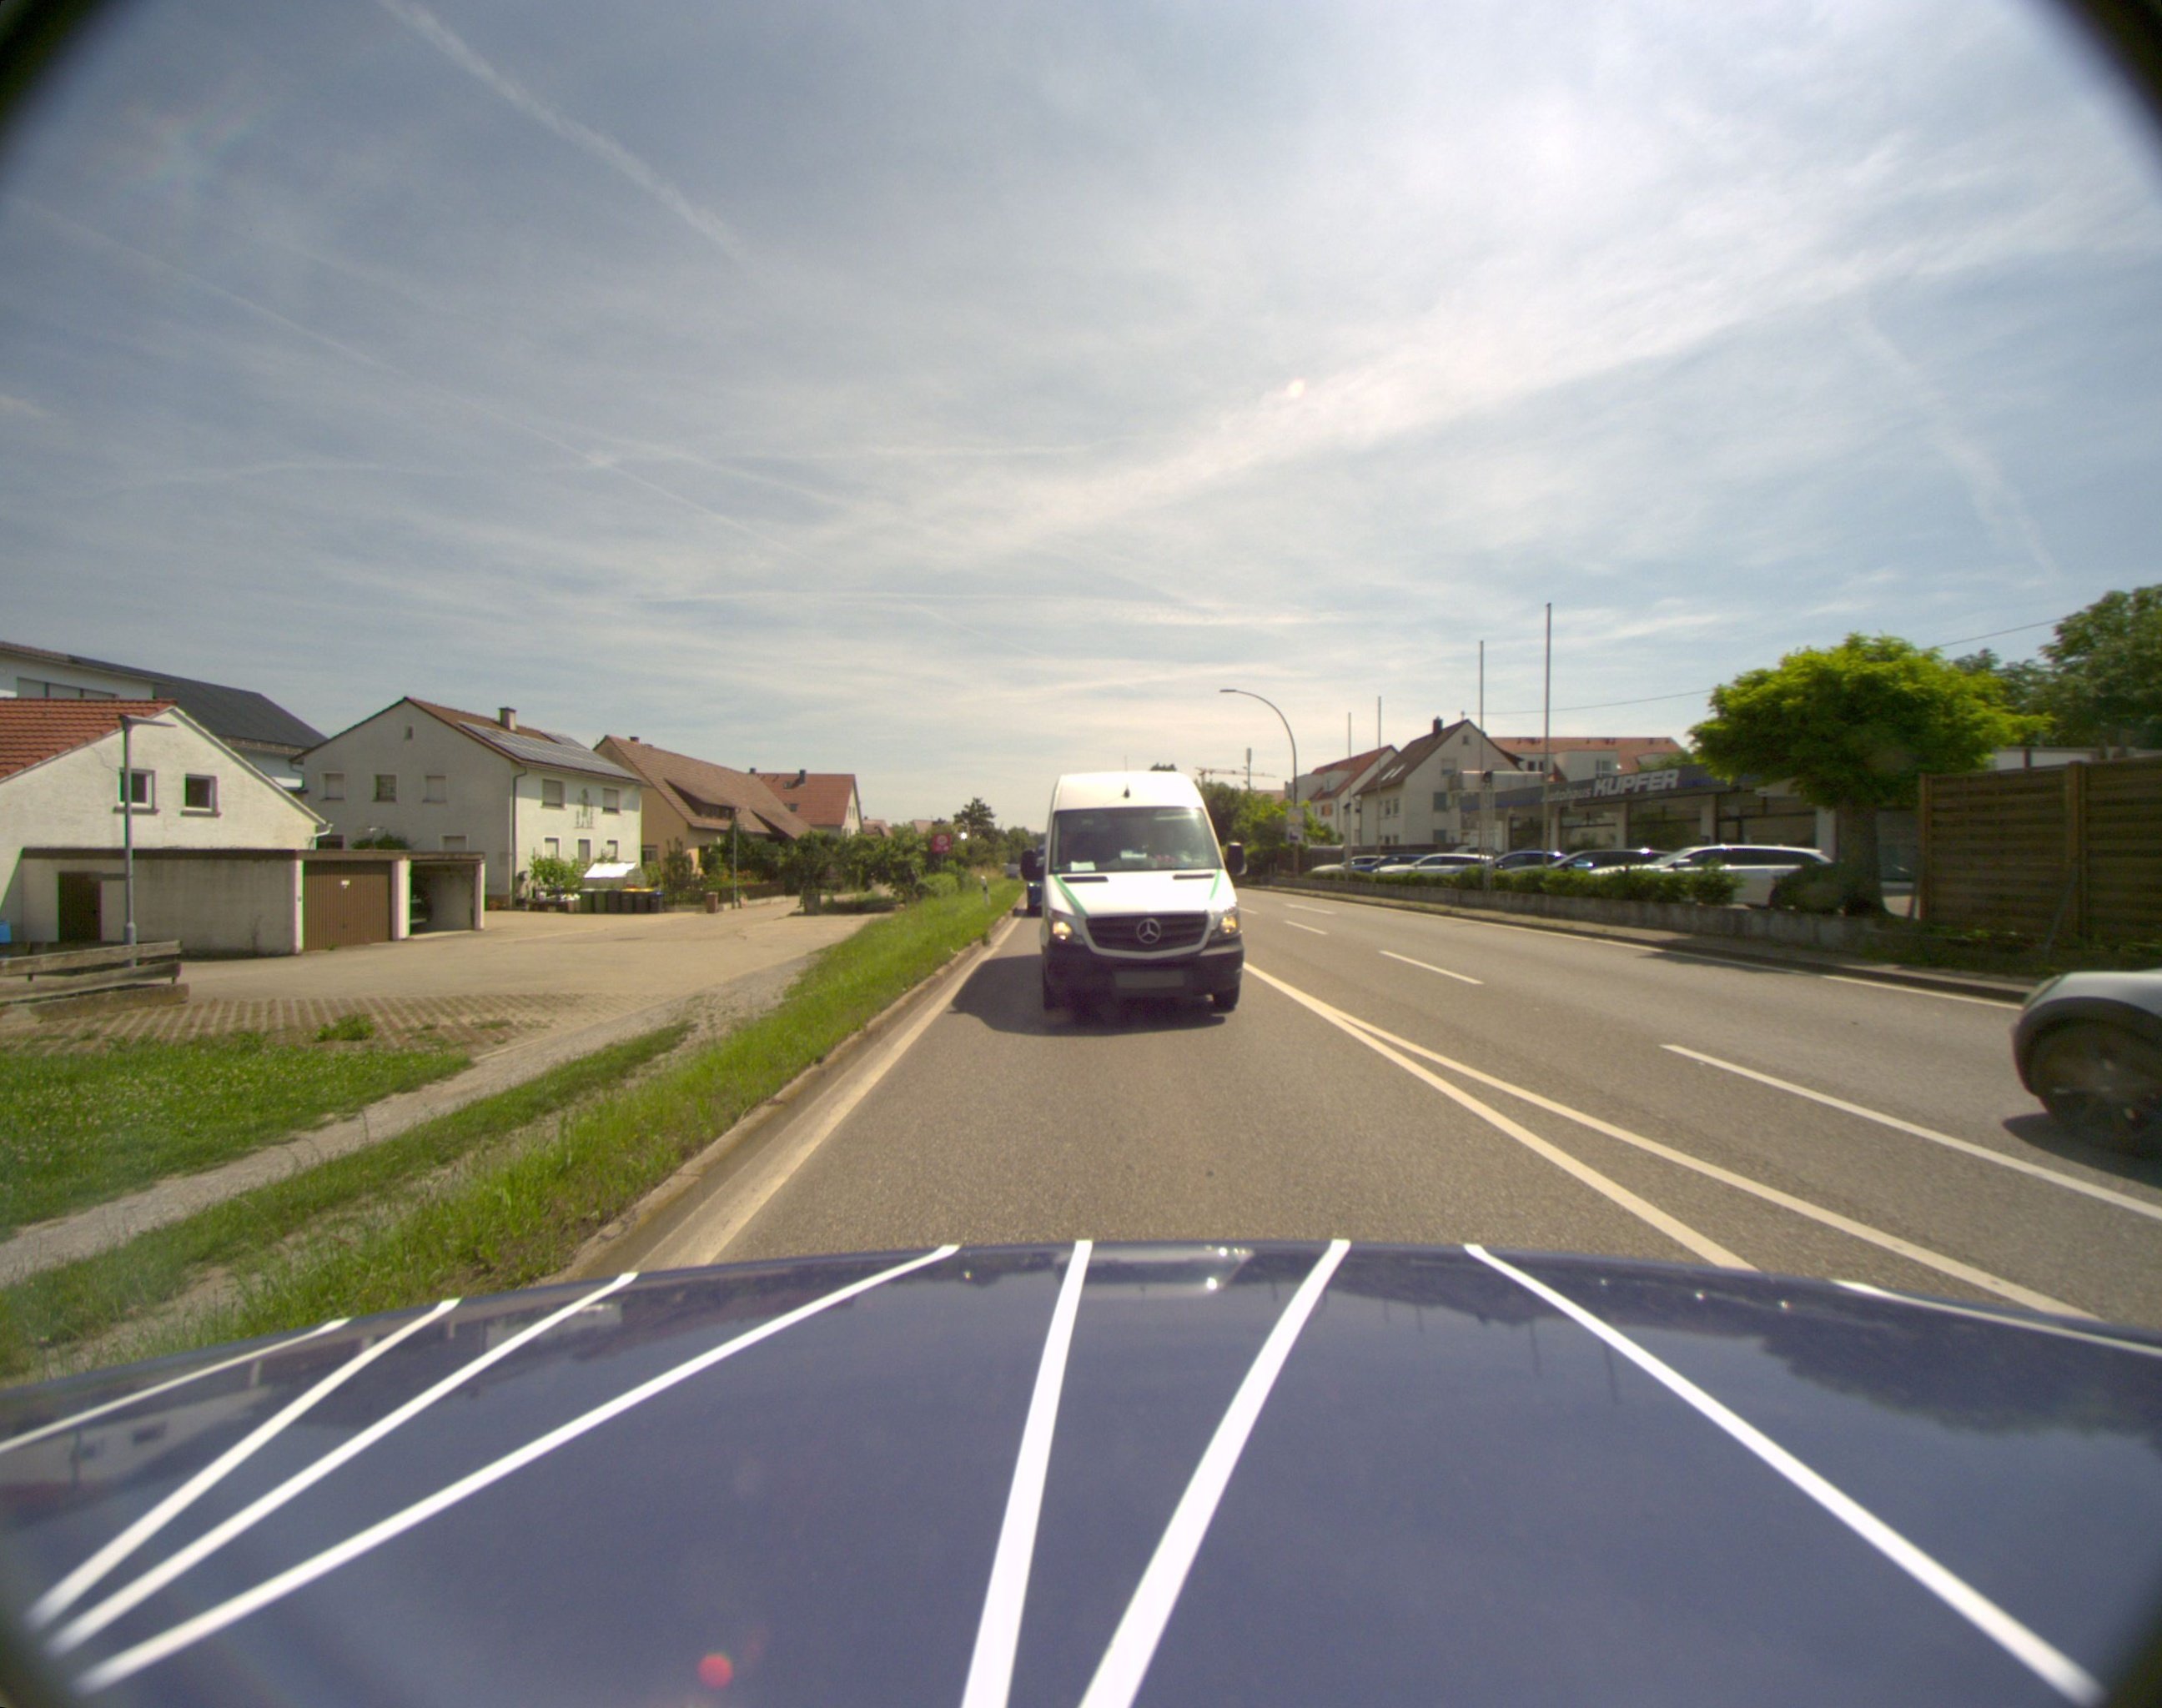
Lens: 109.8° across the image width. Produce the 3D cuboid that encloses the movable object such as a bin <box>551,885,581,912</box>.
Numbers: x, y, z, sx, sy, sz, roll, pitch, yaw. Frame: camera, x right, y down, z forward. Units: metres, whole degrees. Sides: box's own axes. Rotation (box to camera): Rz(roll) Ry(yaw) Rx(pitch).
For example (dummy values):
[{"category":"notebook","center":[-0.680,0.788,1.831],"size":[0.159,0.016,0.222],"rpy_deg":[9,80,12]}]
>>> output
[{"category":"movable object such as a bin","center":[-23.065,1.996,34.065],"size":[0.740,1.149,0.830],"rpy_deg":[-2,0,-1]}]

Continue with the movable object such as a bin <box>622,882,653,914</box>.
[{"category":"movable object such as a bin","center":[-19.876,1.947,34.055],"size":[0.765,1.362,0.946],"rpy_deg":[-2,0,-1]}]

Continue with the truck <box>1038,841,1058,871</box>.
[{"category":"truck","center":[-4.544,0.282,104.737],"size":[2.506,3.847,5.497],"rpy_deg":[-2,0,-1]}]

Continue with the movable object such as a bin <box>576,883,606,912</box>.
[{"category":"movable object such as a bin","center":[-22.136,1.964,34.310],"size":[0.745,1.239,0.889],"rpy_deg":[-2,0,-1]}]

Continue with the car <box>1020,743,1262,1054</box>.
[{"category":"car","center":[0.478,0.391,9.289],"size":[1.978,2.583,5.633],"rpy_deg":[-2,0,-1]}]

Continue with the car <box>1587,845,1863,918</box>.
[{"category":"car","center":[14.054,0.595,16.944],"size":[4.329,1.451,1.858],"rpy_deg":[-2,0,24]}]

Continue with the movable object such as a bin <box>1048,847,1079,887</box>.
[{"category":"movable object such as a bin","center":[-1.210,0.887,54.990],"size":[1.998,2.710,5.419],"rpy_deg":[-2,0,1]}]

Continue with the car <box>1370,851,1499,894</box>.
[{"category":"car","center":[13.473,0.711,29.028],"size":[4.303,1.510,2.003],"rpy_deg":[-2,0,27]}]

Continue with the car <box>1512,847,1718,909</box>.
[{"category":"car","center":[14.276,0.645,20.627],"size":[4.251,1.536,1.853],"rpy_deg":[-2,0,23]}]

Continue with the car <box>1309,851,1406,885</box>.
[{"category":"car","center":[13.555,0.675,37.289],"size":[4.255,1.521,2.003],"rpy_deg":[-2,0,26]}]

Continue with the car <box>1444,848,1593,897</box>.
[{"category":"car","center":[13.997,0.605,24.609],"size":[3.990,1.433,1.857],"rpy_deg":[-2,0,25]}]

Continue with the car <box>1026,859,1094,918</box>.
[{"category":"car","center":[-0.613,0.951,22.551],"size":[1.824,1.574,3.901],"rpy_deg":[-1,0,-1]}]

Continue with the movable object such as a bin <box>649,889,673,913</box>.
[{"category":"movable object such as a bin","center":[-18.868,2.101,34.149],"size":[0.645,1.021,0.756],"rpy_deg":[-2,0,-1]}]

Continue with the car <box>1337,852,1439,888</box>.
[{"category":"car","center":[13.505,0.698,33.404],"size":[3.990,1.455,2.003],"rpy_deg":[-2,0,26]}]

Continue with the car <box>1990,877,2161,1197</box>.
[{"category":"car","center":[5.522,0.799,2.172],"size":[1.625,1.373,3.561],"rpy_deg":[-2,0,2]}]

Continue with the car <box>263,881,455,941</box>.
[{"category":"car","center":[-21.559,1.676,22.804],"size":[3.997,1.594,1.826],"rpy_deg":[-1,0,0]}]

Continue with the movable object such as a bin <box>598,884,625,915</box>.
[{"category":"movable object such as a bin","center":[-21.215,2.051,34.353],"size":[0.678,1.330,0.820],"rpy_deg":[-2,0,-1]}]
